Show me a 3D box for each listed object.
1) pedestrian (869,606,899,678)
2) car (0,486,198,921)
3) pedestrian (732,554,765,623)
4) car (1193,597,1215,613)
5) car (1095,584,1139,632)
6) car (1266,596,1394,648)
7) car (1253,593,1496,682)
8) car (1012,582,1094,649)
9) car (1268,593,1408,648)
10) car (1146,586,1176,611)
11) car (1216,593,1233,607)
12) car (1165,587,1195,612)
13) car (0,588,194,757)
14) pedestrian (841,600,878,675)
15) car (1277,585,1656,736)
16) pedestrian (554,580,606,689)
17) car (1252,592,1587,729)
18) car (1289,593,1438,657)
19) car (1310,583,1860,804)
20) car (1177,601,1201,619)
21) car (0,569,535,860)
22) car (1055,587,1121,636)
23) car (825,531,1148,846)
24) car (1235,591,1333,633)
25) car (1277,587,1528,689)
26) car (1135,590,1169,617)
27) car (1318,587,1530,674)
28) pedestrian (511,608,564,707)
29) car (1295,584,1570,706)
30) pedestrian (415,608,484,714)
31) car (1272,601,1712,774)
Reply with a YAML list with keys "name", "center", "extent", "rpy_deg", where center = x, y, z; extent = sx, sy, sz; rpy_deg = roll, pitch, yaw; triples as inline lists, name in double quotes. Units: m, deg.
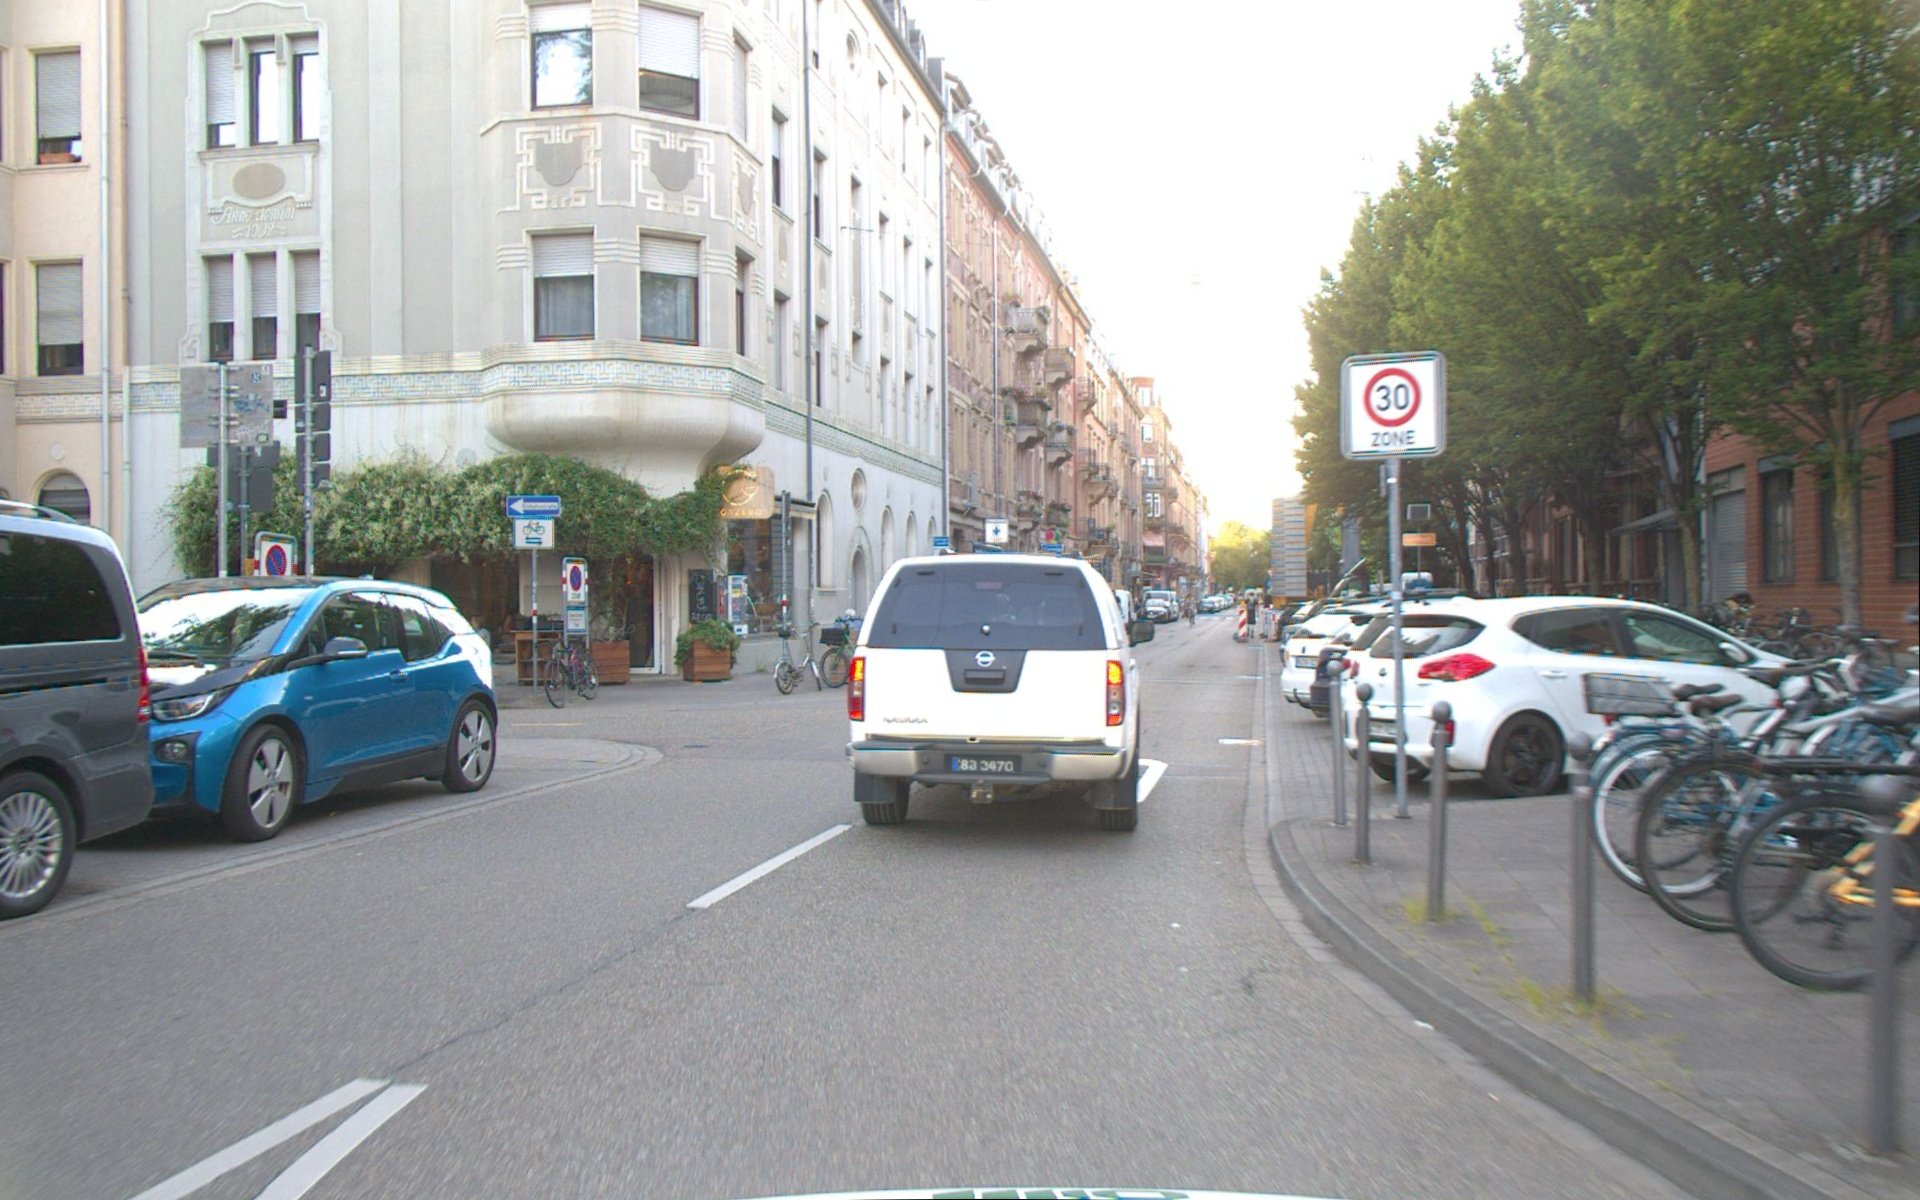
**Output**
- name: "pedestrian"
  center: [-1.453, 0.795, 31.800]
  extent: [0.458, 1.374, 0.611]
  rpy_deg: [0, 0, 9]
- name: "car"
  center: [-5.424, 0.464, 6.135]
  extent: [1.951, 1.899, 5.294]
  rpy_deg: [0, 0, 12]
- name: "pedestrian"
  center: [-4.260, -0.236, 33.307]
  extent: [0.527, 1.374, 0.519]
  rpy_deg: [0, 0, 11]
- name: "car"
  center: [24.512, 0.528, 166.009]
  extent: [1.807, 1.579, 4.359]
  rpy_deg: [0, 0, 13]
- name: "car"
  center: [6.693, 0.321, 70.185]
  extent: [1.526, 1.955, 3.859]
  rpy_deg: [1, 0, 10]
- name: "car"
  center: [11.517, 0.671, 51.464]
  extent: [3.838, 1.557, 1.622]
  rpy_deg: [0, 0, -29]
- name: "car"
  center: [7.933, 0.684, 31.676]
  extent: [4.313, 1.561, 1.794]
  rpy_deg: [-1, 0, -23]
- name: "car"
  center: [2.932, 0.448, 51.135]
  extent: [1.864, 1.959, 4.951]
  rpy_deg: [0, 0, 11]
- name: "car"
  center: [11.243, 0.586, 49.240]
  extent: [3.775, 1.462, 1.749]
  rpy_deg: [-2, 1, -25]
- name: "car"
  center: [12.742, -0.102, 104.643]
  extent: [1.673, 1.557, 4.003]
  rpy_deg: [0, 0, 10]
- name: "car"
  center: [33.888, -0.014, 211.864]
  extent: [1.951, 1.816, 4.003]
  rpy_deg: [0, 0, 11]
- name: "car"
  center: [16.343, -0.038, 122.581]
  extent: [1.951, 1.816, 4.223]
  rpy_deg: [0, 0, 11]
- name: "car"
  center: [-11.452, 0.833, 19.687]
  extent: [3.902, 1.876, 1.892]
  rpy_deg: [-1, 0, 14]
- name: "pedestrian"
  center: [-1.822, 0.679, 30.044]
  extent: [0.525, 1.348, 0.705]
  rpy_deg: [0, 0, 11]
- name: "car"
  center: [5.802, 0.655, 18.985]
  extent: [3.929, 1.549, 1.699]
  rpy_deg: [-1, -2, -21]
- name: "pedestrian"
  center: [-6.025, 0.541, 26.208]
  extent: [0.610, 1.704, 0.560]
  rpy_deg: [0, 0, -40]
- name: "car"
  center: [5.863, 0.714, 21.118]
  extent: [3.929, 1.564, 1.626]
  rpy_deg: [-1, 0, -21]
- name: "car"
  center: [10.494, 0.626, 43.053]
  extent: [3.347, 1.500, 1.764]
  rpy_deg: [-2, 1, -21]
- name: "car"
  center: [4.989, 0.664, 13.285]
  extent: [3.927, 1.533, 1.761]
  rpy_deg: [-1, 0, -19]
- name: "car"
  center: [20.848, 0.888, 150.516]
  extent: [1.807, 1.579, 4.359]
  rpy_deg: [0, 0, 13]
- name: "car"
  center: [-4.530, 0.619, 11.122]
  extent: [1.605, 1.583, 4.007]
  rpy_deg: [0, 0, 12]
- name: "car"
  center: [4.575, 0.397, 58.797]
  extent: [1.951, 1.681, 4.003]
  rpy_deg: [0, 0, 10]
- name: "car"
  center: [0.410, 0.538, 12.014]
  extent: [1.892, 1.826, 4.625]
  rpy_deg: [0, -1, 7]
- name: "car"
  center: [14.297, 0.505, 73.012]
  extent: [4.106, 1.811, 1.821]
  rpy_deg: [0, 0, 16]
- name: "car"
  center: [7.087, 0.576, 26.569]
  extent: [3.537, 1.508, 1.714]
  rpy_deg: [-1, 0, -17]
- name: "car"
  center: [11.471, 0.191, 98.764]
  extent: [1.753, 1.557, 4.003]
  rpy_deg: [0, 0, 11]
- name: "car"
  center: [9.774, 0.616, 34.960]
  extent: [3.914, 1.665, 1.755]
  rpy_deg: [-2, 0, -10]
- name: "pedestrian"
  center: [-6.491, 0.872, 25.420]
  extent: [0.559, 1.495, 0.645]
  rpy_deg: [-1, 0, 9]
- name: "car"
  center: [6.803, 0.605, 23.837]
  extent: [3.545, 1.608, 1.704]
  rpy_deg: [-1, 0, -23]
- name: "pedestrian"
  center: [-7.678, 0.909, 24.904]
  extent: [0.687, 1.567, 0.784]
  rpy_deg: [-1, 0, 9]
- name: "car"
  center: [5.313, 0.818, 16.567]
  extent: [3.933, 1.499, 1.862]
  rpy_deg: [-1, -2, -23]
